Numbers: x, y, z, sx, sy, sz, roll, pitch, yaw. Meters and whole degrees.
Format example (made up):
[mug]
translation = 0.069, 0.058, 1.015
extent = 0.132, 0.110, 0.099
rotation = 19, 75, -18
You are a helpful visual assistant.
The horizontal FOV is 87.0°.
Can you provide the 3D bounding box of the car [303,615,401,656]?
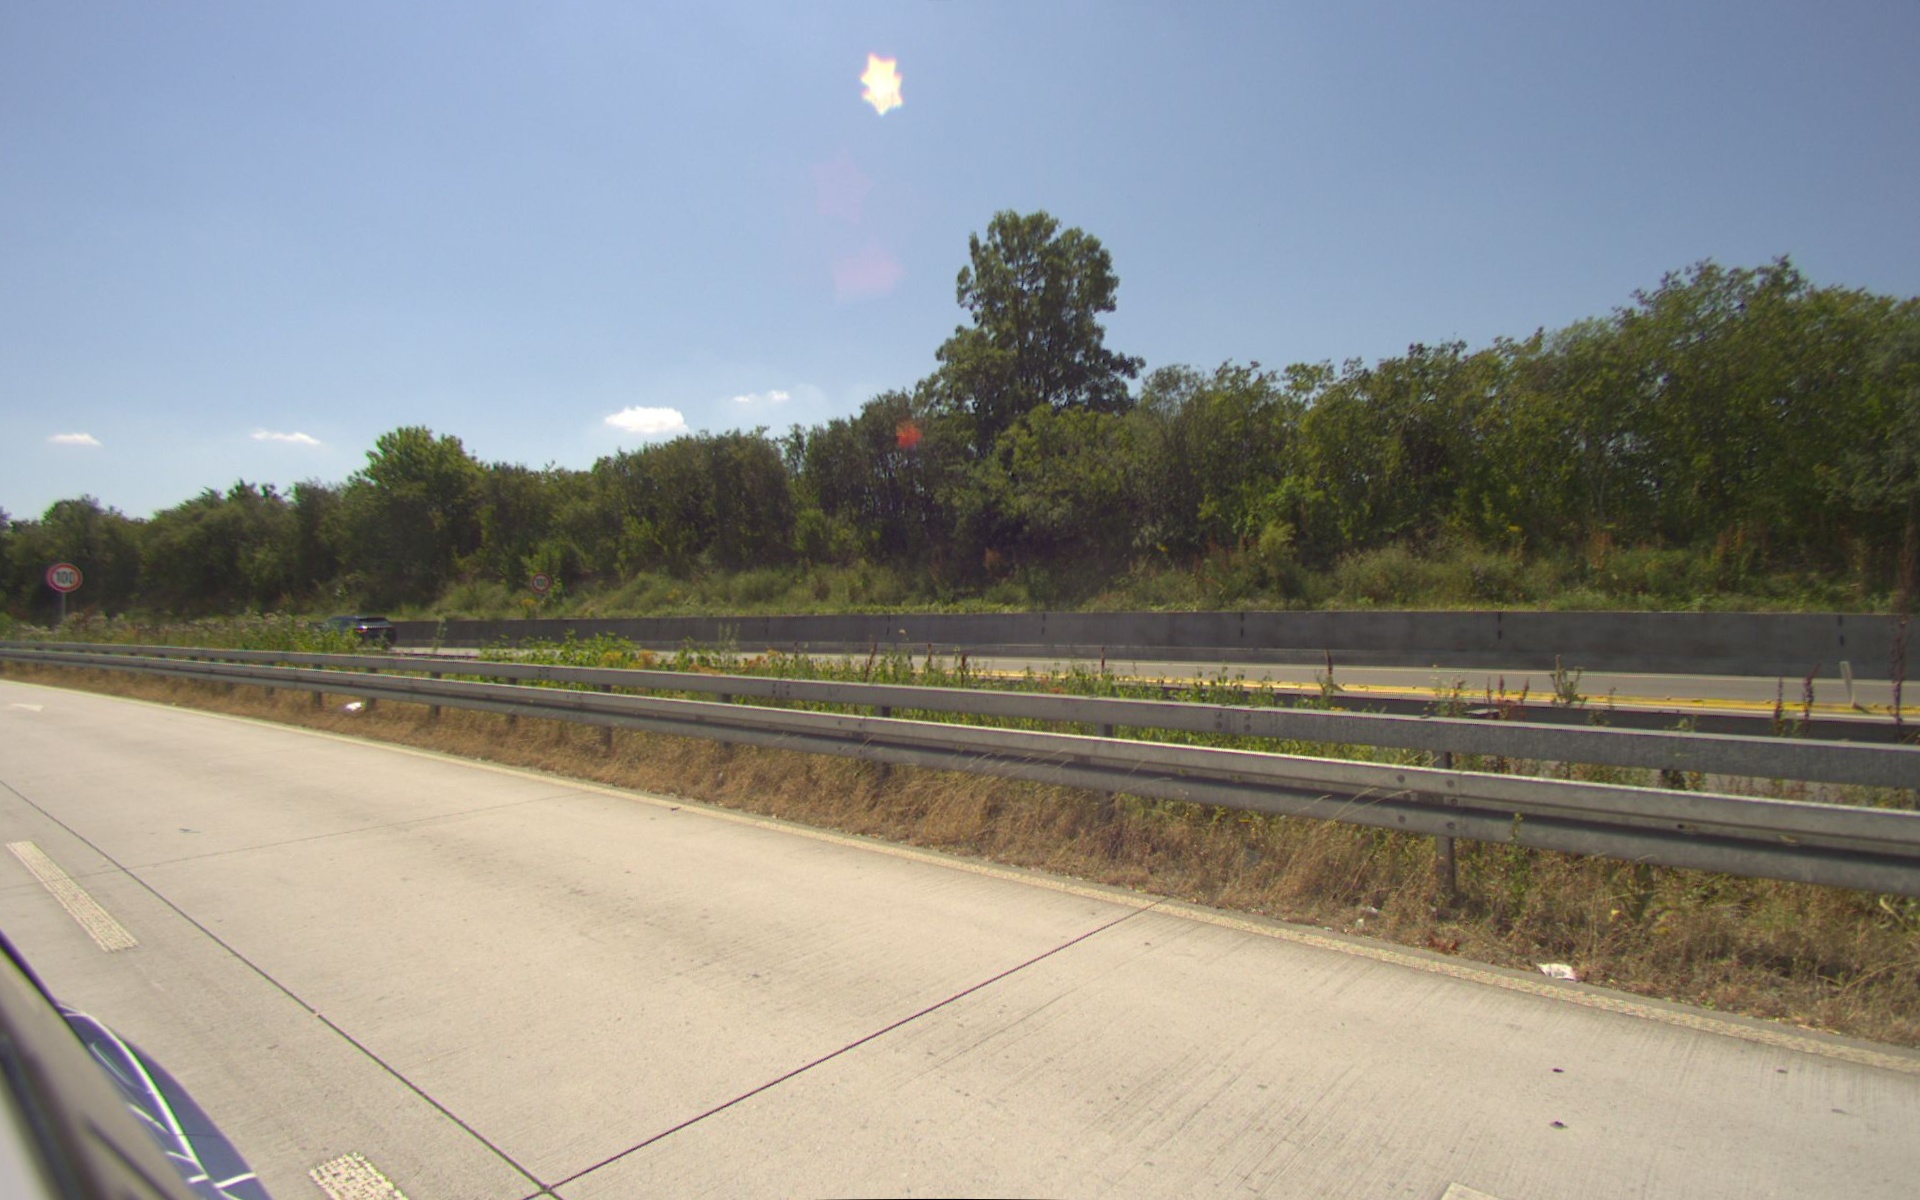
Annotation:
[car]
translation = -24.096, 1.370, 40.074
extent = 4.283, 1.496, 1.697
rotation = -1, 0, 34
